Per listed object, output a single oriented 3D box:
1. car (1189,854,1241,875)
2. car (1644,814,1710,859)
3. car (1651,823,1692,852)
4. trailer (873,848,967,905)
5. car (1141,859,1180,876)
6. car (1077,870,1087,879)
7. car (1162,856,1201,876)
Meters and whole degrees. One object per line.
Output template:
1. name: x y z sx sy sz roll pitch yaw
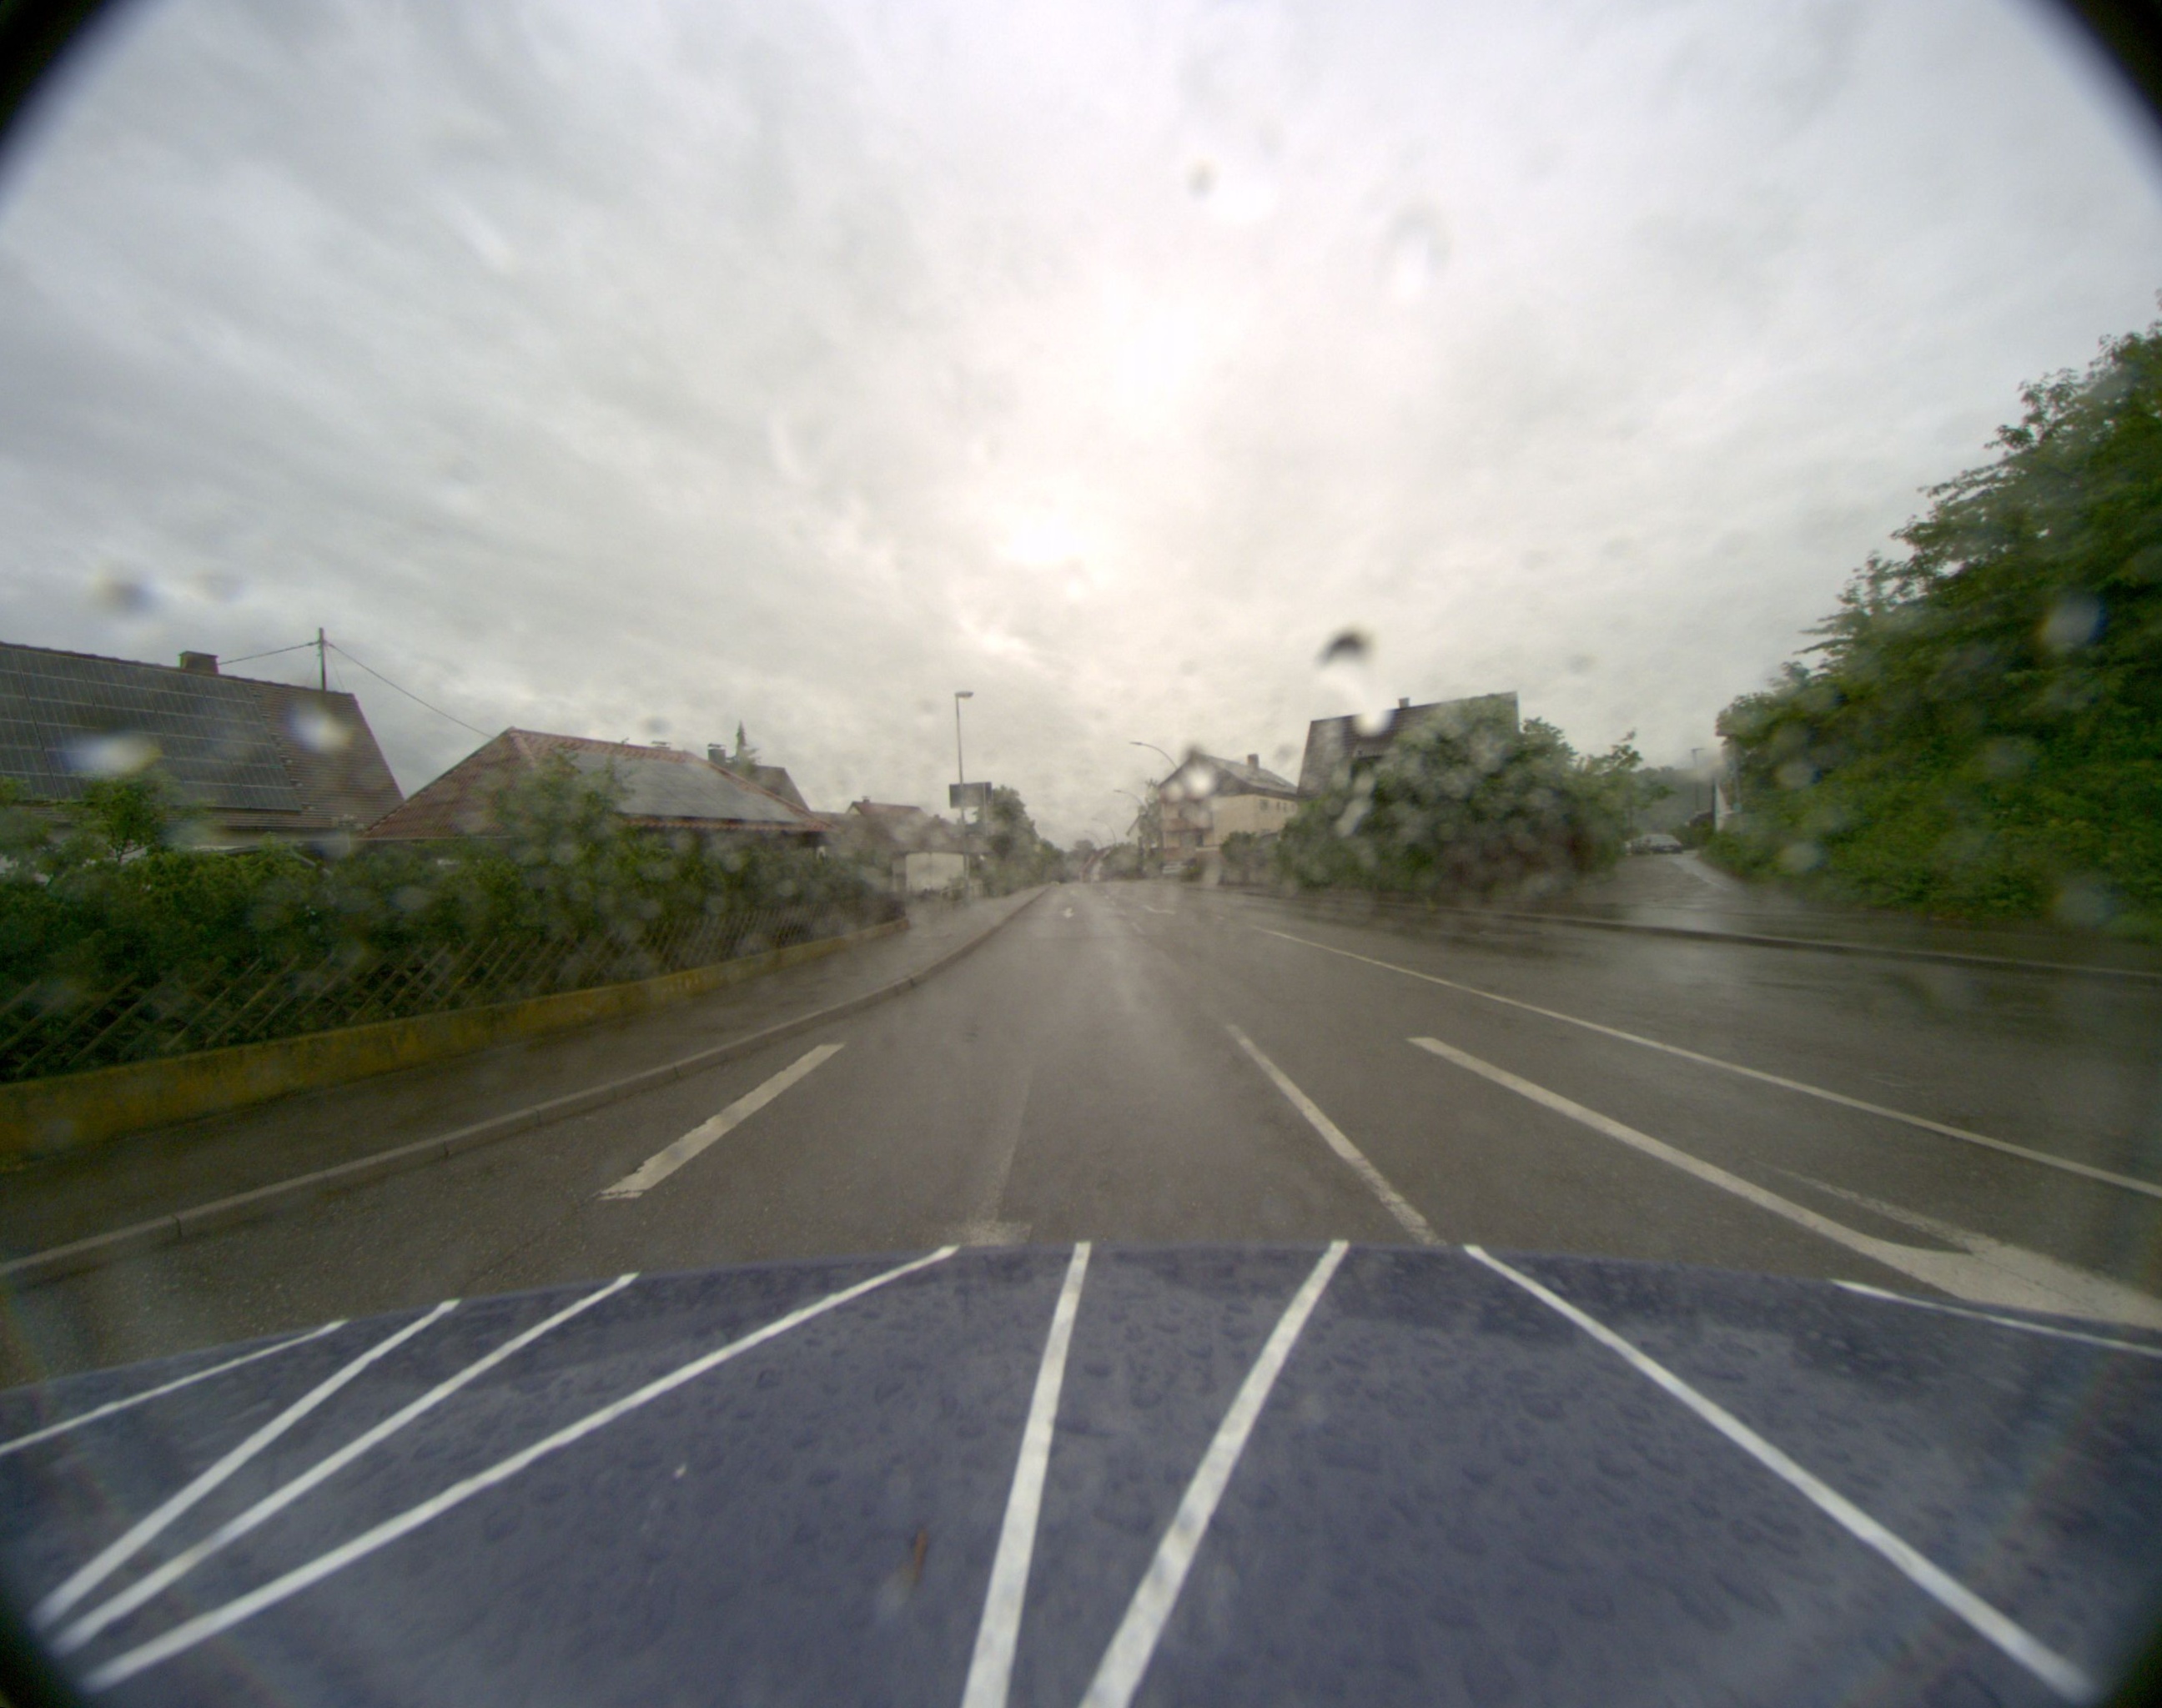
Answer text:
1. car: 10.782 0.835 61.146 3.661 1.510 1.758 -3 0 35
2. car: 22.958 -0.674 29.209 1.706 1.579 3.669 -2 0 42
3. car: 41.115 -1.158 52.849 1.995 1.848 4.008 -3 0 41
4. trailer: -7.731 1.041 36.979 1.645 2.502 4.712 -3 -1 28
5. car: 9.183 1.526 87.660 4.424 1.658 1.995 -3 0 -40
6. car: 0.171 4.448 164.704 1.932 1.864 4.000 -3 0 0
7. car: 8.904 1.053 67.051 1.864 1.510 4.007 -3 0 32
